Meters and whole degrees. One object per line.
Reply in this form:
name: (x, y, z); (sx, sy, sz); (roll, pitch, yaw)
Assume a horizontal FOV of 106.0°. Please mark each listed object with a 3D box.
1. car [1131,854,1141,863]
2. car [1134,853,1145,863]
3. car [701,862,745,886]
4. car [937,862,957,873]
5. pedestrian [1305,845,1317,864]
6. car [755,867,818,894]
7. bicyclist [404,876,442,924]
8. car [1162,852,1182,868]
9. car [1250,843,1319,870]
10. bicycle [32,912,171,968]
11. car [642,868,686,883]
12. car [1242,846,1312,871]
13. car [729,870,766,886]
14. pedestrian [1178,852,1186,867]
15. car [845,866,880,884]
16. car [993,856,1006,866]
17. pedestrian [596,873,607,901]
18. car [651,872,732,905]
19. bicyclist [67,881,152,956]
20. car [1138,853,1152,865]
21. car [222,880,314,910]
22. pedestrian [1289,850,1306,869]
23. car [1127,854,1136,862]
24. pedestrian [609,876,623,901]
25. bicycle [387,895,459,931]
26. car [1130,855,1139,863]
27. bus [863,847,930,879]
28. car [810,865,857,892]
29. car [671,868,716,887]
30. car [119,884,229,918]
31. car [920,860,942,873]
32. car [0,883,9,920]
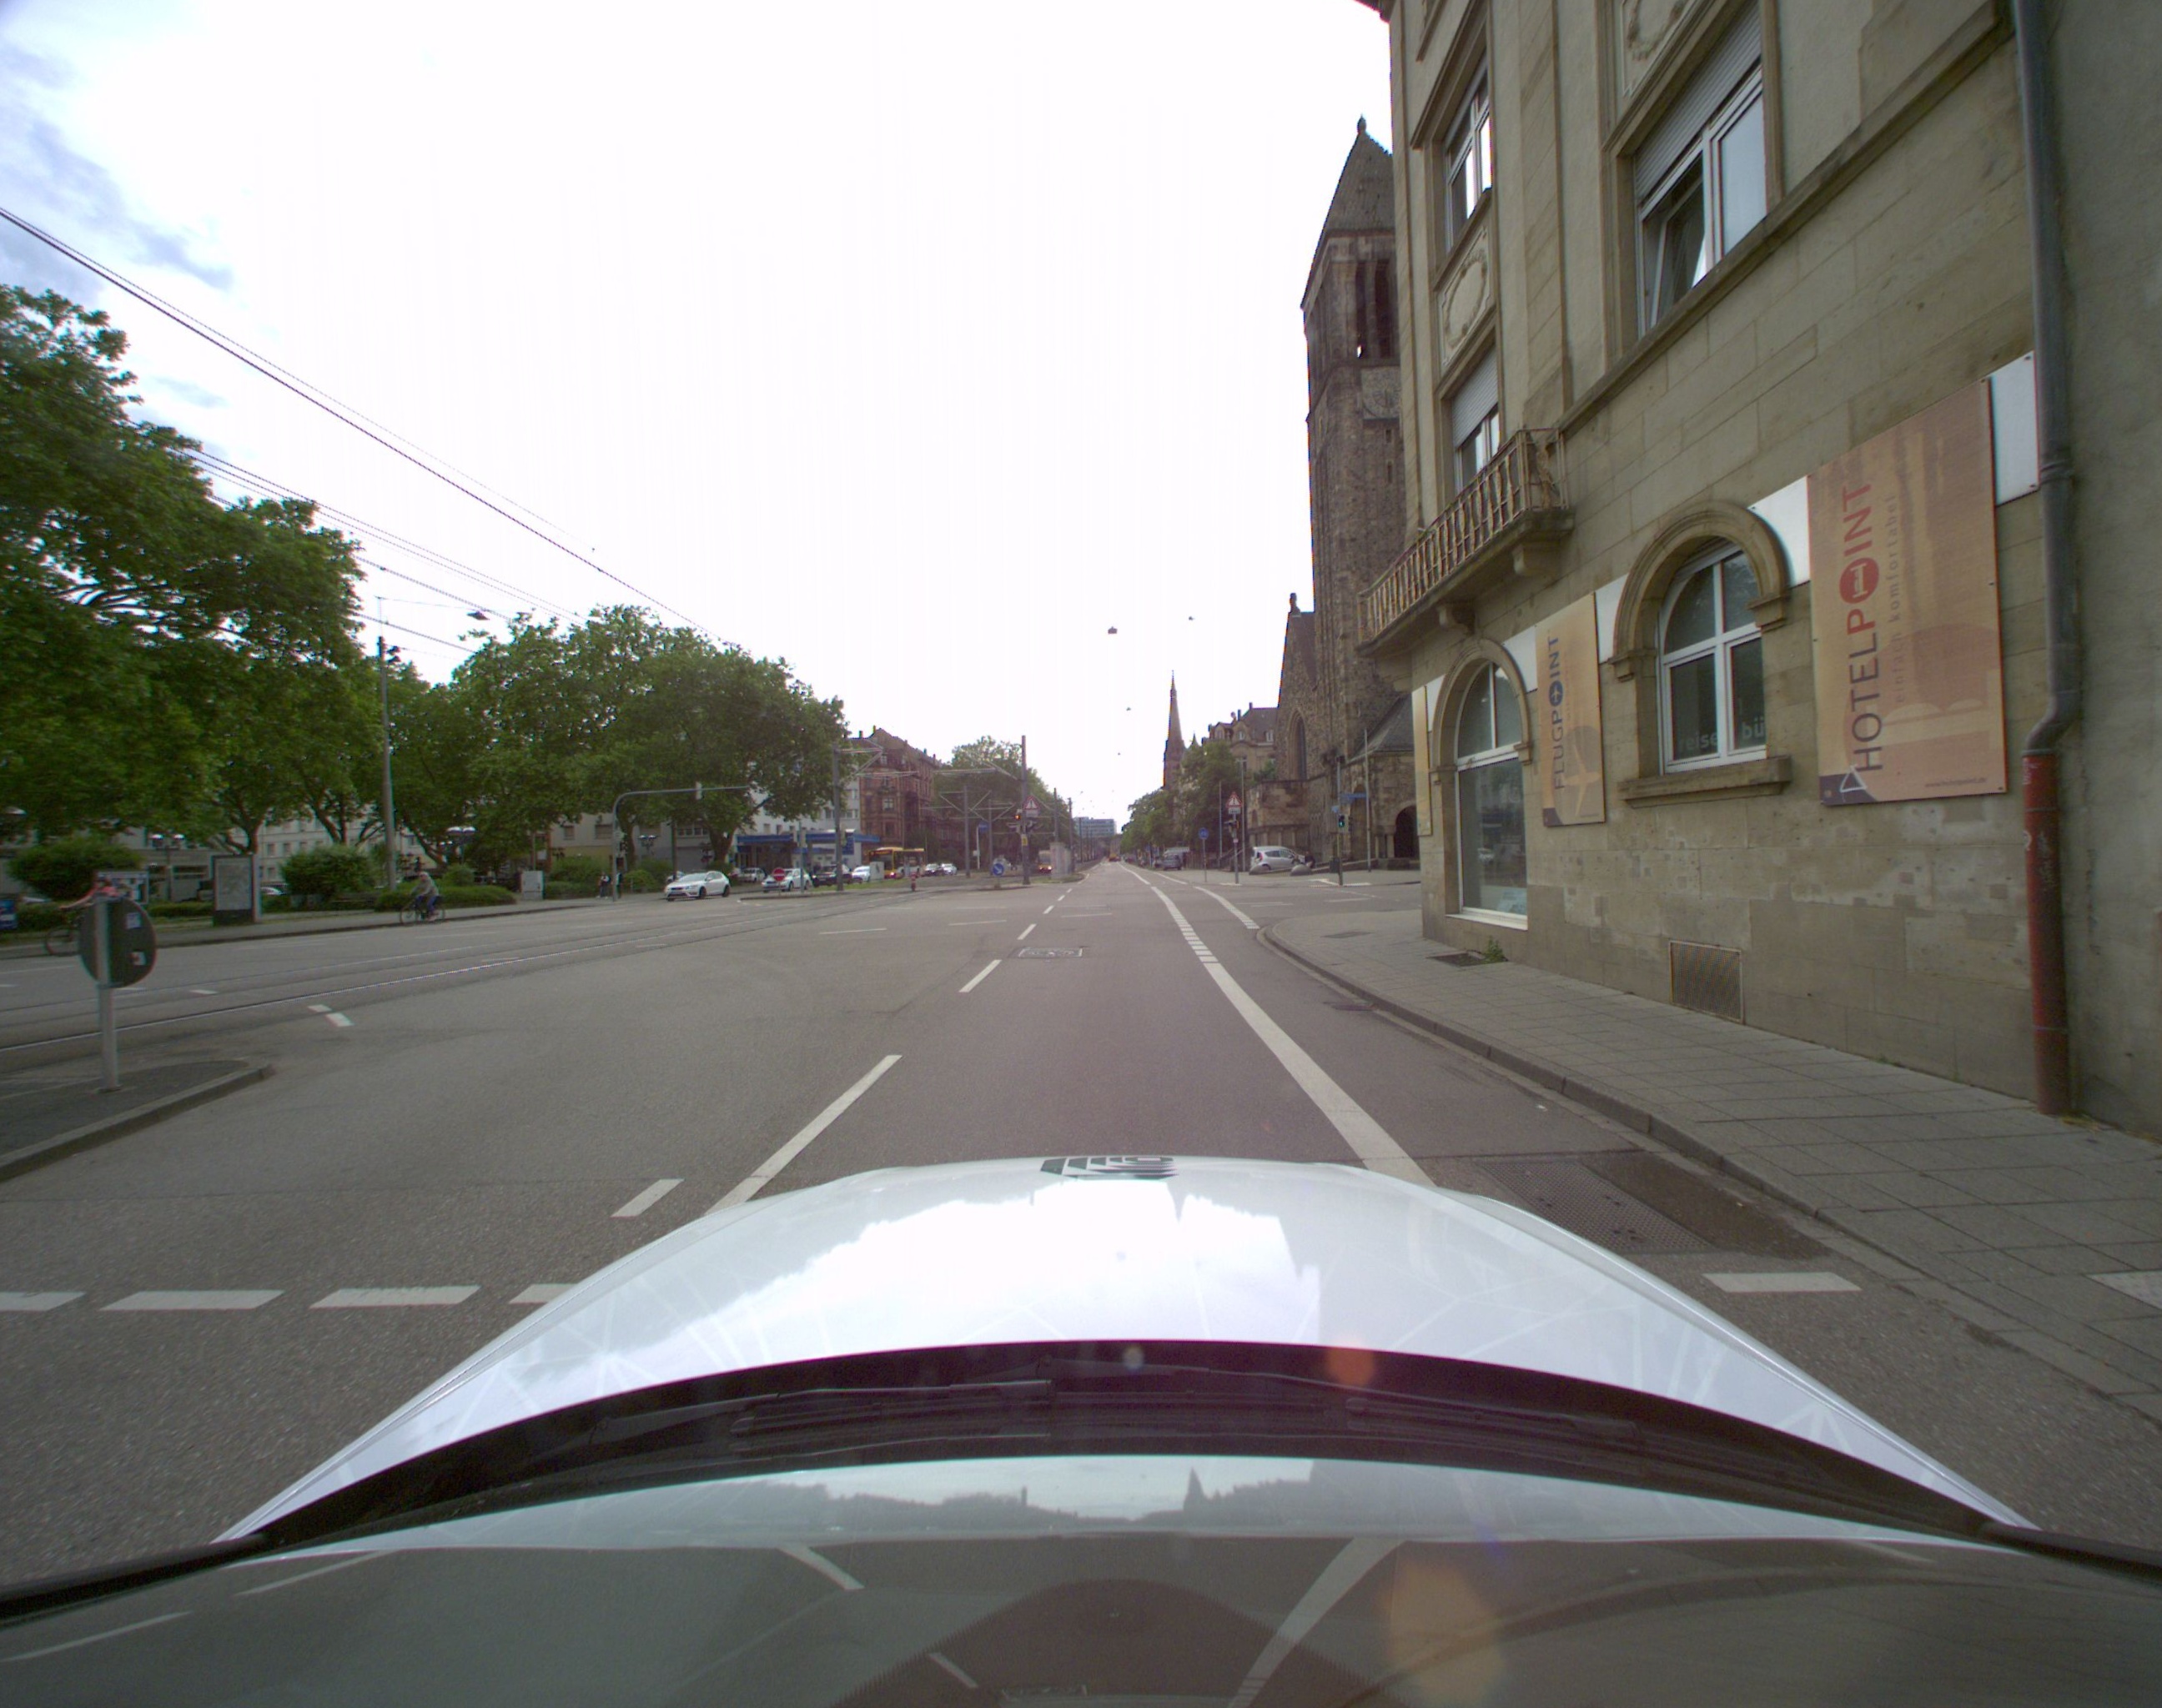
car: (12.283, 1.055, 181.322); (1.986, 2.013, 4.001); (-1, 0, 1)
car: (11.691, 0.831, 162.861); (1.986, 1.881, 4.002); (-2, 0, 2)
car: (-31.972, 1.749, 72.911); (1.986, 2.013, 4.002); (-2, 0, 2)
car: (-16.522, 1.655, 100.740); (1.695, 1.221, 3.893); (-1, 0, 3)
pedestrian: (14.621, 0.029, 51.769); (0.731, 1.228, 1.067); (-1, 0, 17)
car: (-18.963, 1.688, 52.787); (1.834, 1.525, 5.705); (-1, 0, 2)
bicyclist: (-22.629, 1.570, 28.003); (0.581, 1.562, 0.757); (-4, 0, 2)
car: (8.994, 0.589, 80.582); (1.695, 1.459, 3.893); (-1, 0, 3)
car: (14.597, 0.178, 58.628); (4.593, 1.881, 1.663); (-1, 0, 1)
bicycle: (-22.660, 1.958, 18.905); (0.724, 1.064, 1.993); (-4, 0, 2)
car: (-37.456, 1.899, 73.317); (1.721, 1.174, 4.011); (-2, 0, 2)
car: (13.238, 0.291, 55.146); (4.332, 1.636, 1.663); (-1, 0, 1)
car: (-29.548, 2.115, 72.272); (1.695, 1.358, 3.406); (-1, 0, 3)
pedestrian: (10.689, 0.587, 85.886); (0.772, 1.647, 0.800); (-1, 0, 8)
car: (-18.342, 1.724, 68.471); (1.695, 1.398, 3.893); (-1, 0, 3)
car: (-14.024, 1.177, 140.614); (1.695, 1.712, 3.893); (-1, 0, 3)
pedestrian: (-26.308, 1.800, 44.700); (0.360, 1.479, 0.373); (-2, 0, -5)
car: (-19.636, 1.713, 41.303); (1.835, 1.448, 4.415); (-1, 0, 2)
bicyclist: (-22.688, 1.482, 19.039); (0.703, 1.637, 0.994); (-4, 0, 1)
car: (9.916, 0.788, 126.648); (1.986, 1.820, 4.002); (-2, 0, 2)
car: (-65.905, 3.312, 66.117); (4.825, 2.101, 2.073); (-2, 0, -15)
pedestrian: (13.646, 0.336, 51.371); (0.734, 1.191, 1.494); (-1, 0, 2)
car: (12.946, 1.114, 208.734); (1.986, 2.013, 4.001); (-1, 0, 1)
pedestrian: (-25.573, 1.879, 44.758); (0.454, 1.326, 0.469); (-2, 0, -5)
bicycle: (-22.673, 2.024, 28.111); (0.724, 1.064, 1.994); (-4, 0, 2)
car: (13.255, 1.164, 201.009); (1.986, 1.925, 4.001); (-1, 0, 1)
bus: (-17.967, 0.786, 80.480); (3.268, 2.856, 12.389); (-1, 0, 3)
car: (-18.425, 1.799, 60.976); (1.695, 1.783, 5.153); (-1, 0, 3)
car: (-34.749, 2.103, 73.159); (1.986, 1.466, 4.002); (-2, 0, 2)
car: (-64.648, 3.334, 58.157); (4.825, 2.101, 2.073); (-2, 0, -15)
car: (-17.205, 1.421, 93.517); (1.695, 1.358, 3.893); (-1, 0, 3)
car: (-64.707, 2.839, 45.914); (4.825, 2.101, 2.073); (-2, 0, -15)
